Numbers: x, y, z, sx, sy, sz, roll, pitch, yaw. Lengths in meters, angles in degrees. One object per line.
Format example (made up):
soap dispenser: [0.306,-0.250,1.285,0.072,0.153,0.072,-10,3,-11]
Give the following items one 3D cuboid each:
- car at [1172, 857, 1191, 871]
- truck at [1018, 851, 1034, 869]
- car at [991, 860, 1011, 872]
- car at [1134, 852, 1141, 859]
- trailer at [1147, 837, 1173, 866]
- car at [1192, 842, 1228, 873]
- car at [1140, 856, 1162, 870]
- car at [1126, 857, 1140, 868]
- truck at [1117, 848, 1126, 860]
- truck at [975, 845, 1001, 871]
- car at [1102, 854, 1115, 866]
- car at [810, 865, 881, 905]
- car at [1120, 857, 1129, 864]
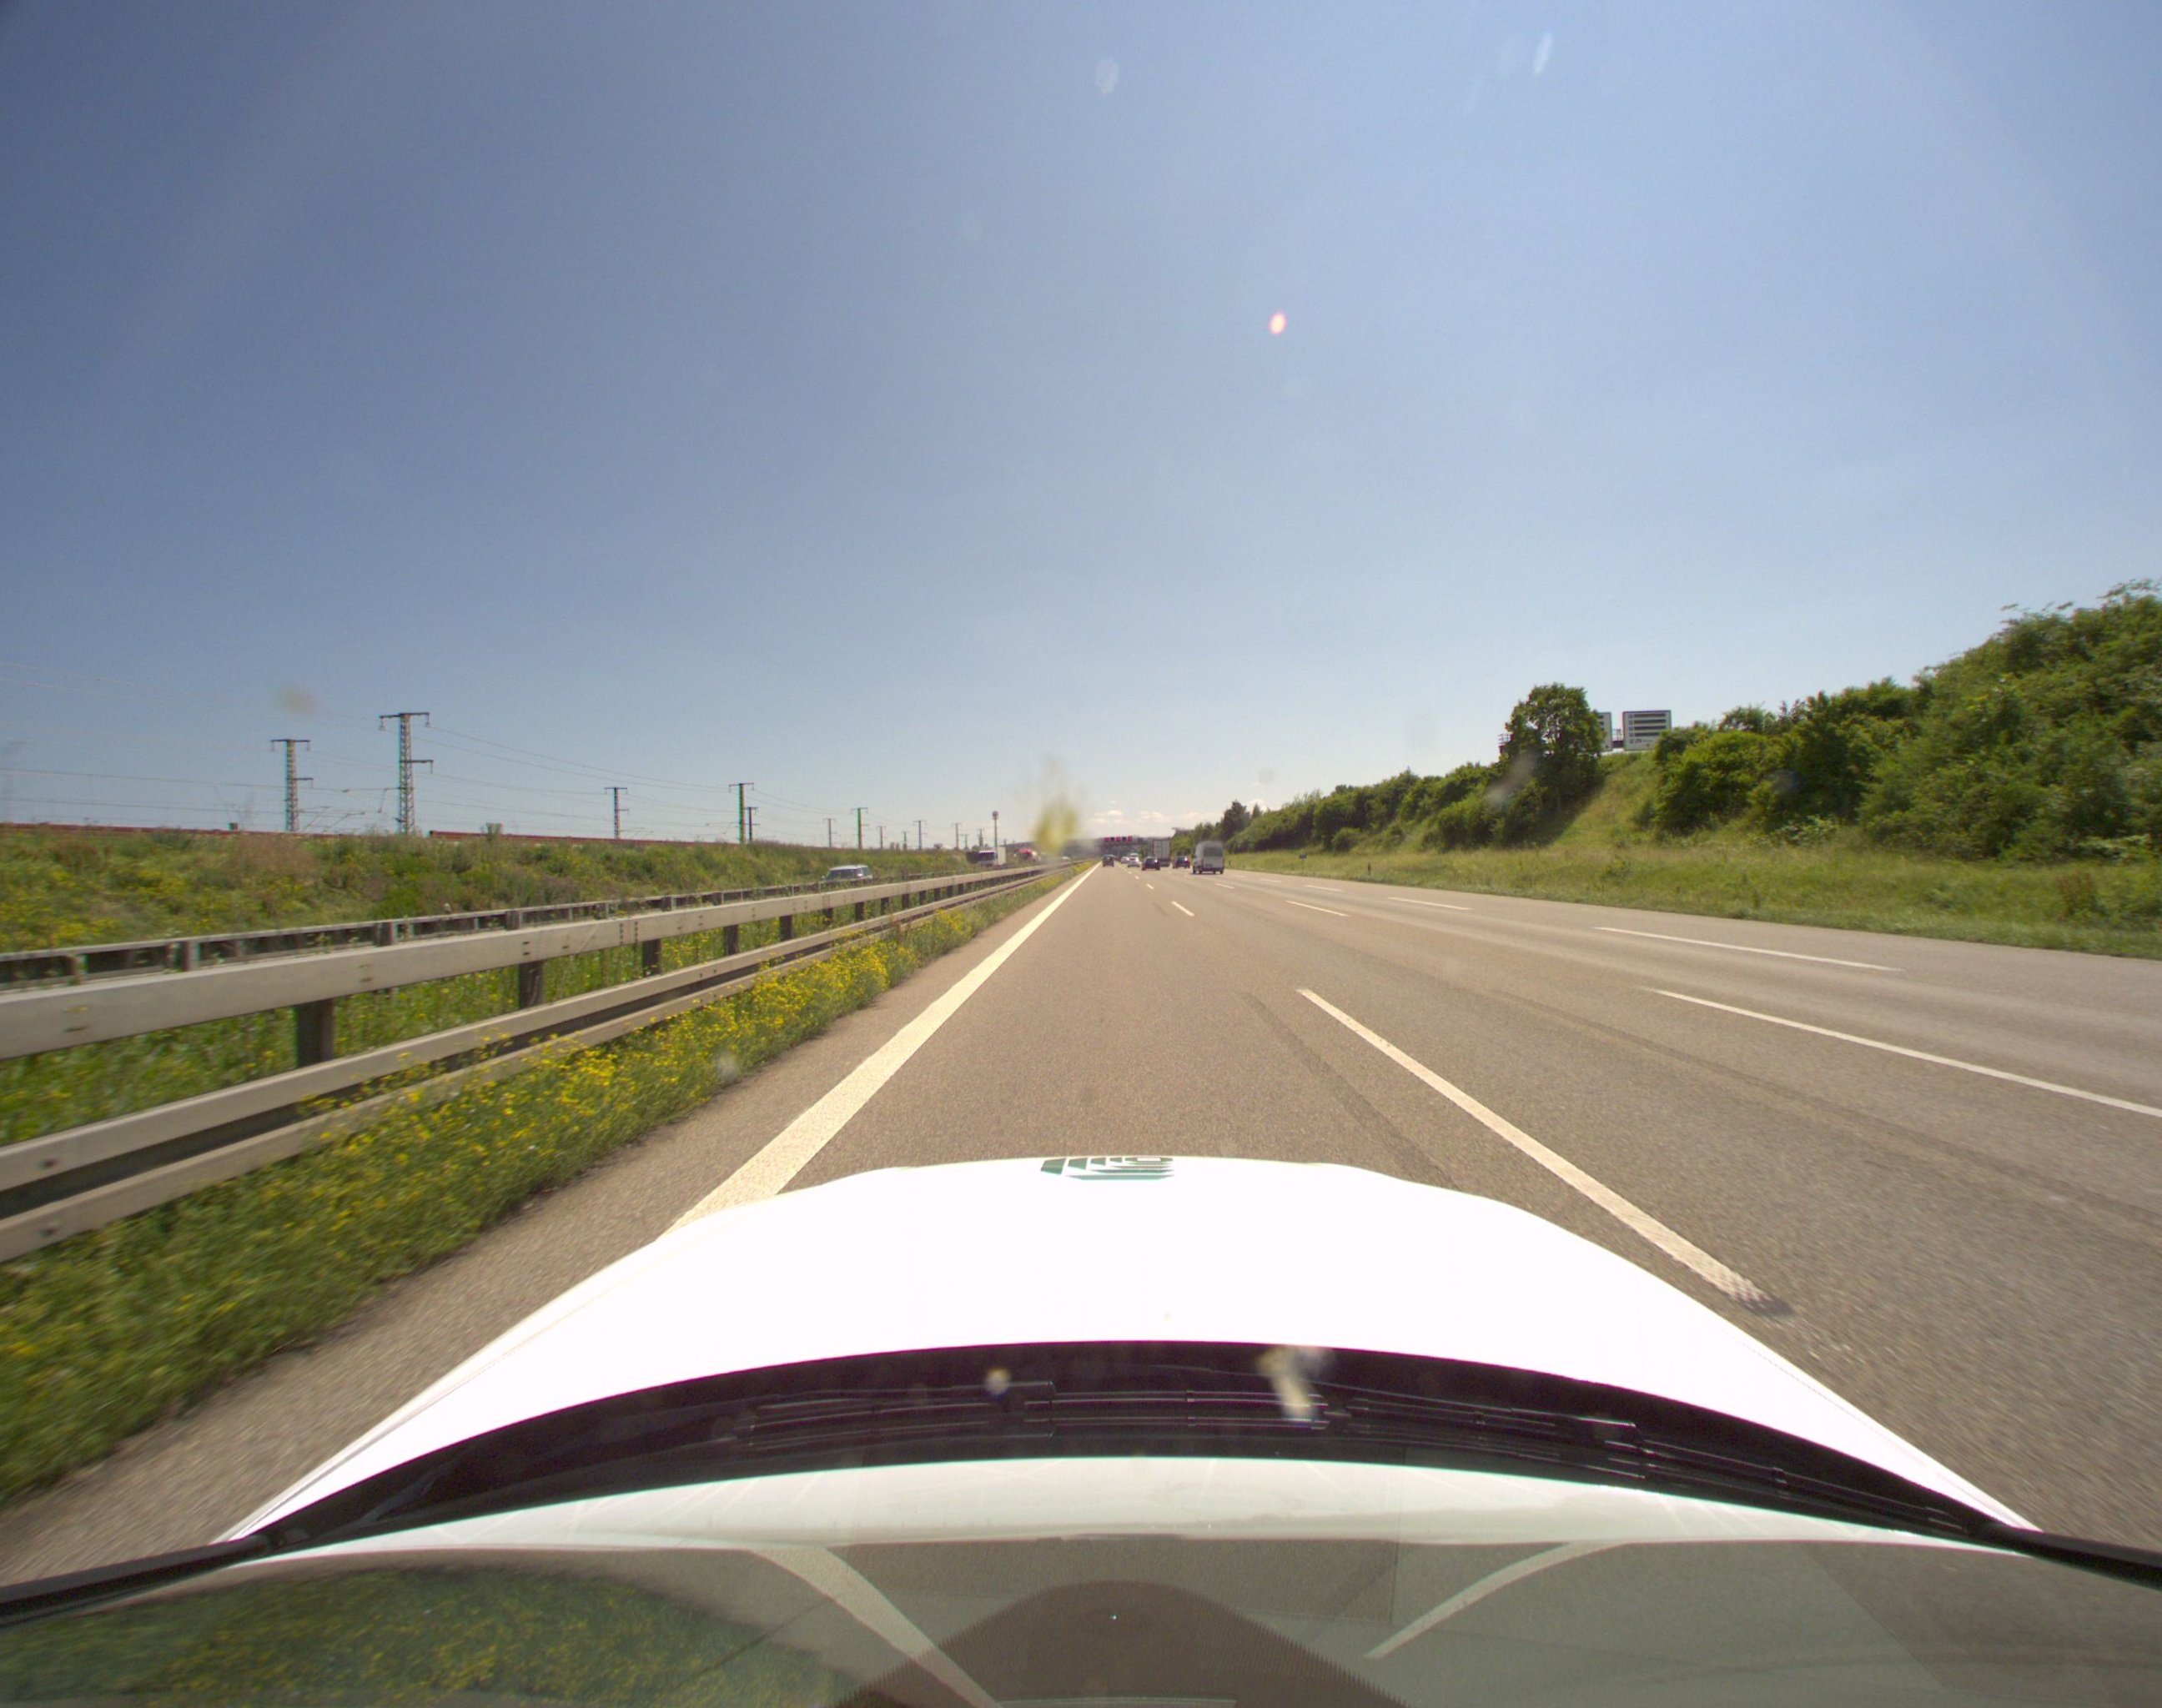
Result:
car: [12.597,1.260,101.902,1.986,1.596,4.000,0,-2,1]
truck: [-10.801,1.189,160.621,2.777,3.521,4.715,0,0,2]
car: [-9.711,1.417,99.051,1.986,1.306,4.204,-2,0,1]
car: [17.180,0.525,247.756,1.985,2.013,4.441,-2,0,3]
trailer: [11.749,-0.311,121.519,3.165,4.059,9.444,-2,0,2]
car: [10.944,0.292,69.351,2.266,2.528,5.400,-1,0,1]
car: [7.693,1.015,89.776,1.987,1.508,3.998,0,-2,-1]
car: [7.494,1.294,116.954,1.872,1.526,4.005,-1,-1,5]
truck: [11.215,-0.013,227.236,2.346,3.416,6.060,-1,0,2]
truck: [-12.381,0.597,108.745,2.777,3.388,4.715,0,0,2]
car: [4.303,0.929,127.469,1.873,1.775,4.002,-2,-1,2]
car: [-11.214,1.420,39.129,1.986,1.735,4.558,-1,0,1]
car: [9.515,1.496,177.269,1.873,1.526,4.003,-1,-1,3]
